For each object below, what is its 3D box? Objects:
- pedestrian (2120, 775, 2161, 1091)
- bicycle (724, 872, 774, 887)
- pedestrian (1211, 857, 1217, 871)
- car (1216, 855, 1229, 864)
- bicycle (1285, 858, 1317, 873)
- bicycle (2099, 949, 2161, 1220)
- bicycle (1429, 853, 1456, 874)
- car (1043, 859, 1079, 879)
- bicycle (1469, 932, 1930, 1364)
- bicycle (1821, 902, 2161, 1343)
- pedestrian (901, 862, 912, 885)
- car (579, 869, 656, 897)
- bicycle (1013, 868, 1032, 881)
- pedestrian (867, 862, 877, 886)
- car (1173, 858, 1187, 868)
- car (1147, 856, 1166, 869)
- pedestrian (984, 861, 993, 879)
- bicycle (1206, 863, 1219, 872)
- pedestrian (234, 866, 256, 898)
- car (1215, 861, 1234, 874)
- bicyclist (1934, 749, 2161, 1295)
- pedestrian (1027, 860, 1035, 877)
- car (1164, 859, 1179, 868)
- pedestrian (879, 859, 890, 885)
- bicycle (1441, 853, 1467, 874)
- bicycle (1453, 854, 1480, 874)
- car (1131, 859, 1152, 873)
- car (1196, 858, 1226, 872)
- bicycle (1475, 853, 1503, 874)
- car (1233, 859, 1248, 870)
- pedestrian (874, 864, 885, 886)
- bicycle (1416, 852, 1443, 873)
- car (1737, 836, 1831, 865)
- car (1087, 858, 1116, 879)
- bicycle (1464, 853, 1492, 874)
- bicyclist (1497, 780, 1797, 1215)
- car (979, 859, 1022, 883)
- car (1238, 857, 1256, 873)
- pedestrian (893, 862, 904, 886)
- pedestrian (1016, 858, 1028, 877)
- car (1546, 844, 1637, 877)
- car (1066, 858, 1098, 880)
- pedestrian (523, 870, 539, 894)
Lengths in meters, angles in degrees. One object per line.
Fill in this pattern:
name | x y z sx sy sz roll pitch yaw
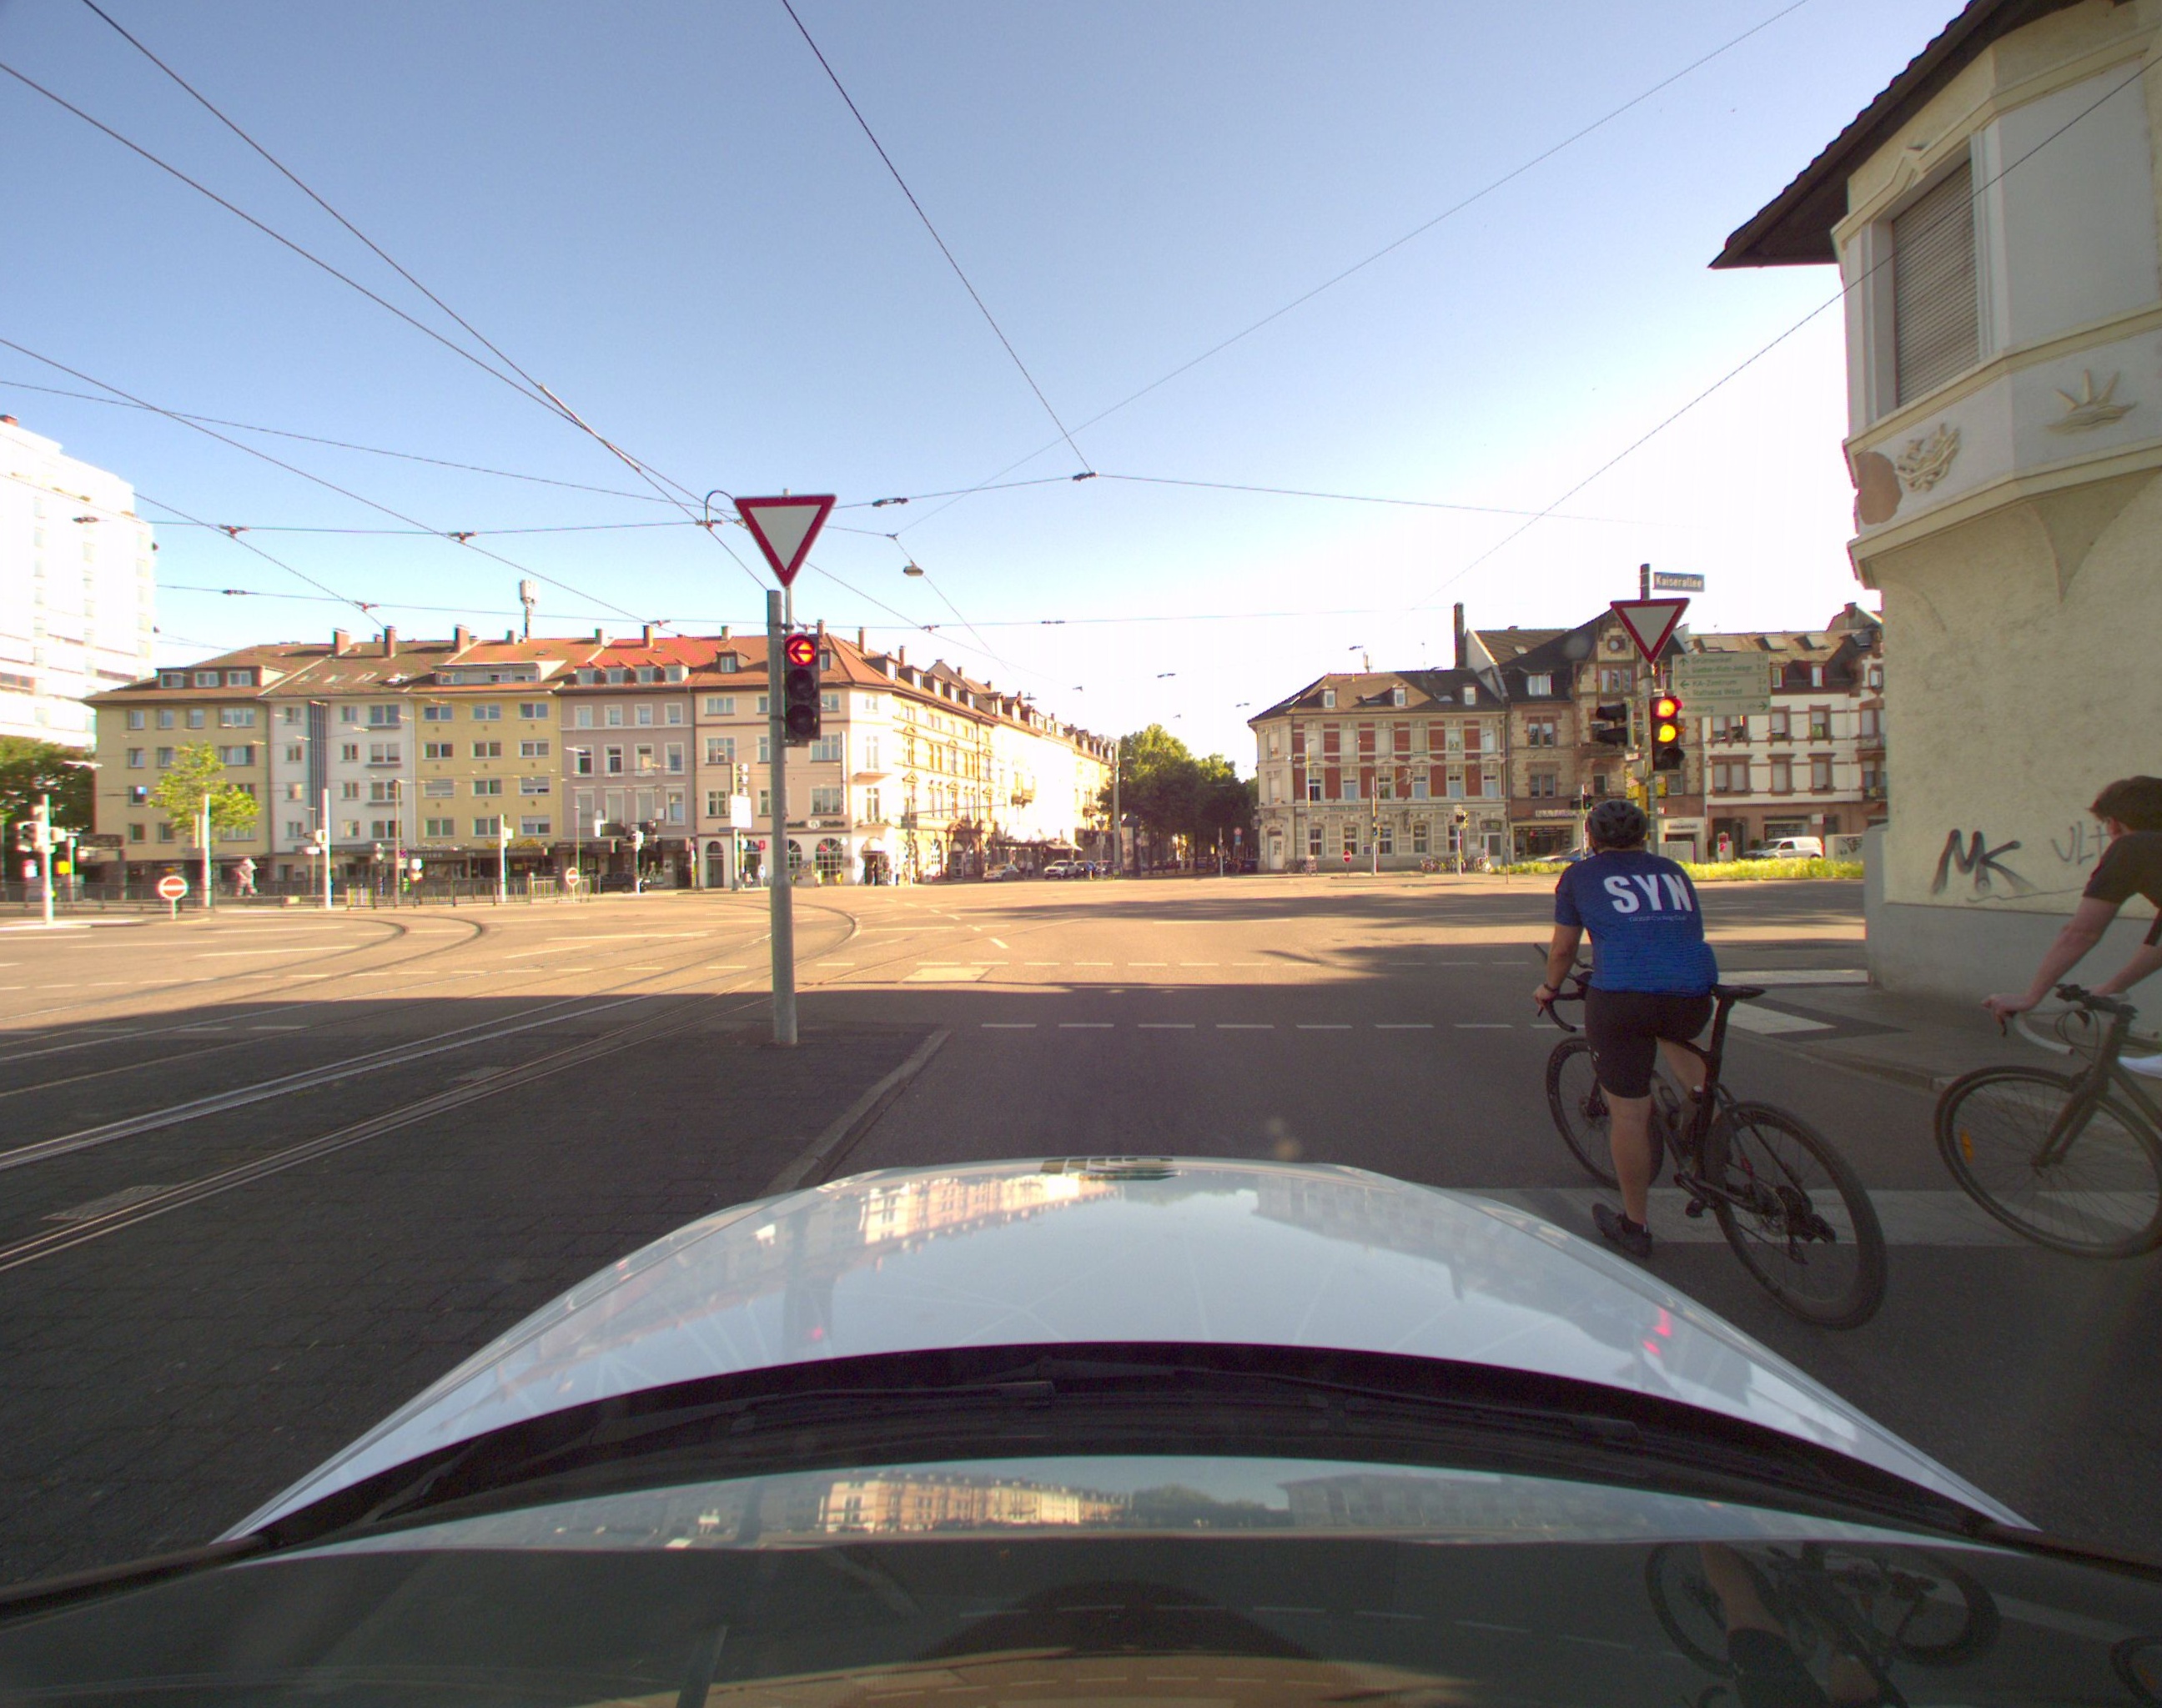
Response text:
pedestrian | 6.368 0.414 4.507 0.589 1.756 0.635 -5 -1 -37
bicycle | -23.423 1.788 57.465 3.118 0.980 1.002 0 -1 1
pedestrian | 17.061 1.268 104.274 0.635 1.796 0.492 -1 -1 14
car | 23.310 0.918 134.398 1.546 1.513 3.673 -1 -1 19
bicycle | 15.362 0.796 56.869 2.040 0.998 0.631 -1 -1 4
bicycle | 4.486 0.901 2.462 0.647 1.031 1.772 0 -1 3
bicycle | 23.263 0.607 52.420 0.689 1.287 2.663 0 -1 3
car | -1.637 1.230 67.427 1.979 1.618 4.015 -1 -1 14
bicycle | 2.191 0.929 3.212 0.623 1.085 1.705 0 -1 5
bicycle | 3.559 0.821 2.647 0.752 1.236 1.702 0 -1 0
pedestrian | -12.355 1.385 57.691 0.631 1.634 0.700 0 -1 -2
car | -30.587 1.916 53.817 3.962 1.670 2.006 -2 0 10
bicycle | -4.729 1.634 65.557 0.756 1.008 2.406 -1 -1 16
pedestrian | -14.657 1.401 57.100 0.631 1.612 0.465 0 -1 -2
car | 16.544 1.512 135.825 1.546 1.513 3.673 -1 -1 19
car | 11.396 1.329 122.295 1.977 1.904 4.019 -1 -1 19
pedestrian | -8.172 1.411 71.942 0.539 1.631 0.709 -1 -1 15
bicycle | 15.998 1.650 98.862 0.630 1.085 1.687 0 -1 -28
pedestrian | -43.093 1.421 41.994 0.523 1.628 0.577 0 -1 0
car | 15.650 1.471 88.670 1.742 1.362 3.869 -1 -1 13
bicyclist | 3.579 0.495 2.582 0.803 1.606 0.883 0 -1 0
pedestrian | -4.957 1.459 80.805 0.539 1.631 0.709 -1 -1 15
car | 14.690 1.502 131.847 1.546 1.513 3.673 -1 -1 19
pedestrian | -13.894 1.274 57.617 0.631 1.881 0.465 0 -1 -2
bicycle | 23.986 0.598 52.414 0.626 1.287 2.663 0 -1 3
bicycle | 24.777 0.624 52.385 0.626 1.287 2.663 0 -1 3
car | 8.402 1.620 112.691 1.977 1.904 4.019 -1 -1 19
car | 18.343 1.563 114.723 3.955 1.904 2.009 -1 -1 17
bicycle | 26.199 0.613 52.353 0.626 1.287 2.663 0 -1 3
car | 22.822 1.521 116.625 1.758 1.530 4.017 -1 -1 16
pedestrian | -14.011 1.455 56.665 0.631 1.477 0.465 0 -1 -2
bicycle | 22.441 0.556 52.461 0.689 1.287 2.663 0 -1 3
car | 45.313 -0.228 52.566 4.349 1.778 2.000 0 -1 1
car | 2.055 1.402 79.863 1.979 1.904 4.015 -1 -1 14
bicycle | 25.504 0.613 52.381 0.626 1.287 2.663 0 -1 3
bicyclist | 2.172 0.485 3.250 0.635 1.494 0.885 0 1 6
car | -6.647 1.366 67.397 1.977 1.904 4.019 -1 -1 19
car | 16.821 1.126 82.361 1.680 1.565 3.855 -1 -1 14
pedestrian | -12.635 1.364 56.365 0.631 1.634 0.700 0 -1 -2
pedestrian | -4.757 1.105 65.488 0.814 1.512 0.601 -1 -1 16
car | 28.243 0.346 45.136 3.769 1.778 2.000 0 -1 1
car | 0.089 1.368 73.815 1.979 1.904 4.015 -1 -1 14
pedestrian | -38.554 1.963 57.066 0.631 1.634 0.700 0 -1 -2
